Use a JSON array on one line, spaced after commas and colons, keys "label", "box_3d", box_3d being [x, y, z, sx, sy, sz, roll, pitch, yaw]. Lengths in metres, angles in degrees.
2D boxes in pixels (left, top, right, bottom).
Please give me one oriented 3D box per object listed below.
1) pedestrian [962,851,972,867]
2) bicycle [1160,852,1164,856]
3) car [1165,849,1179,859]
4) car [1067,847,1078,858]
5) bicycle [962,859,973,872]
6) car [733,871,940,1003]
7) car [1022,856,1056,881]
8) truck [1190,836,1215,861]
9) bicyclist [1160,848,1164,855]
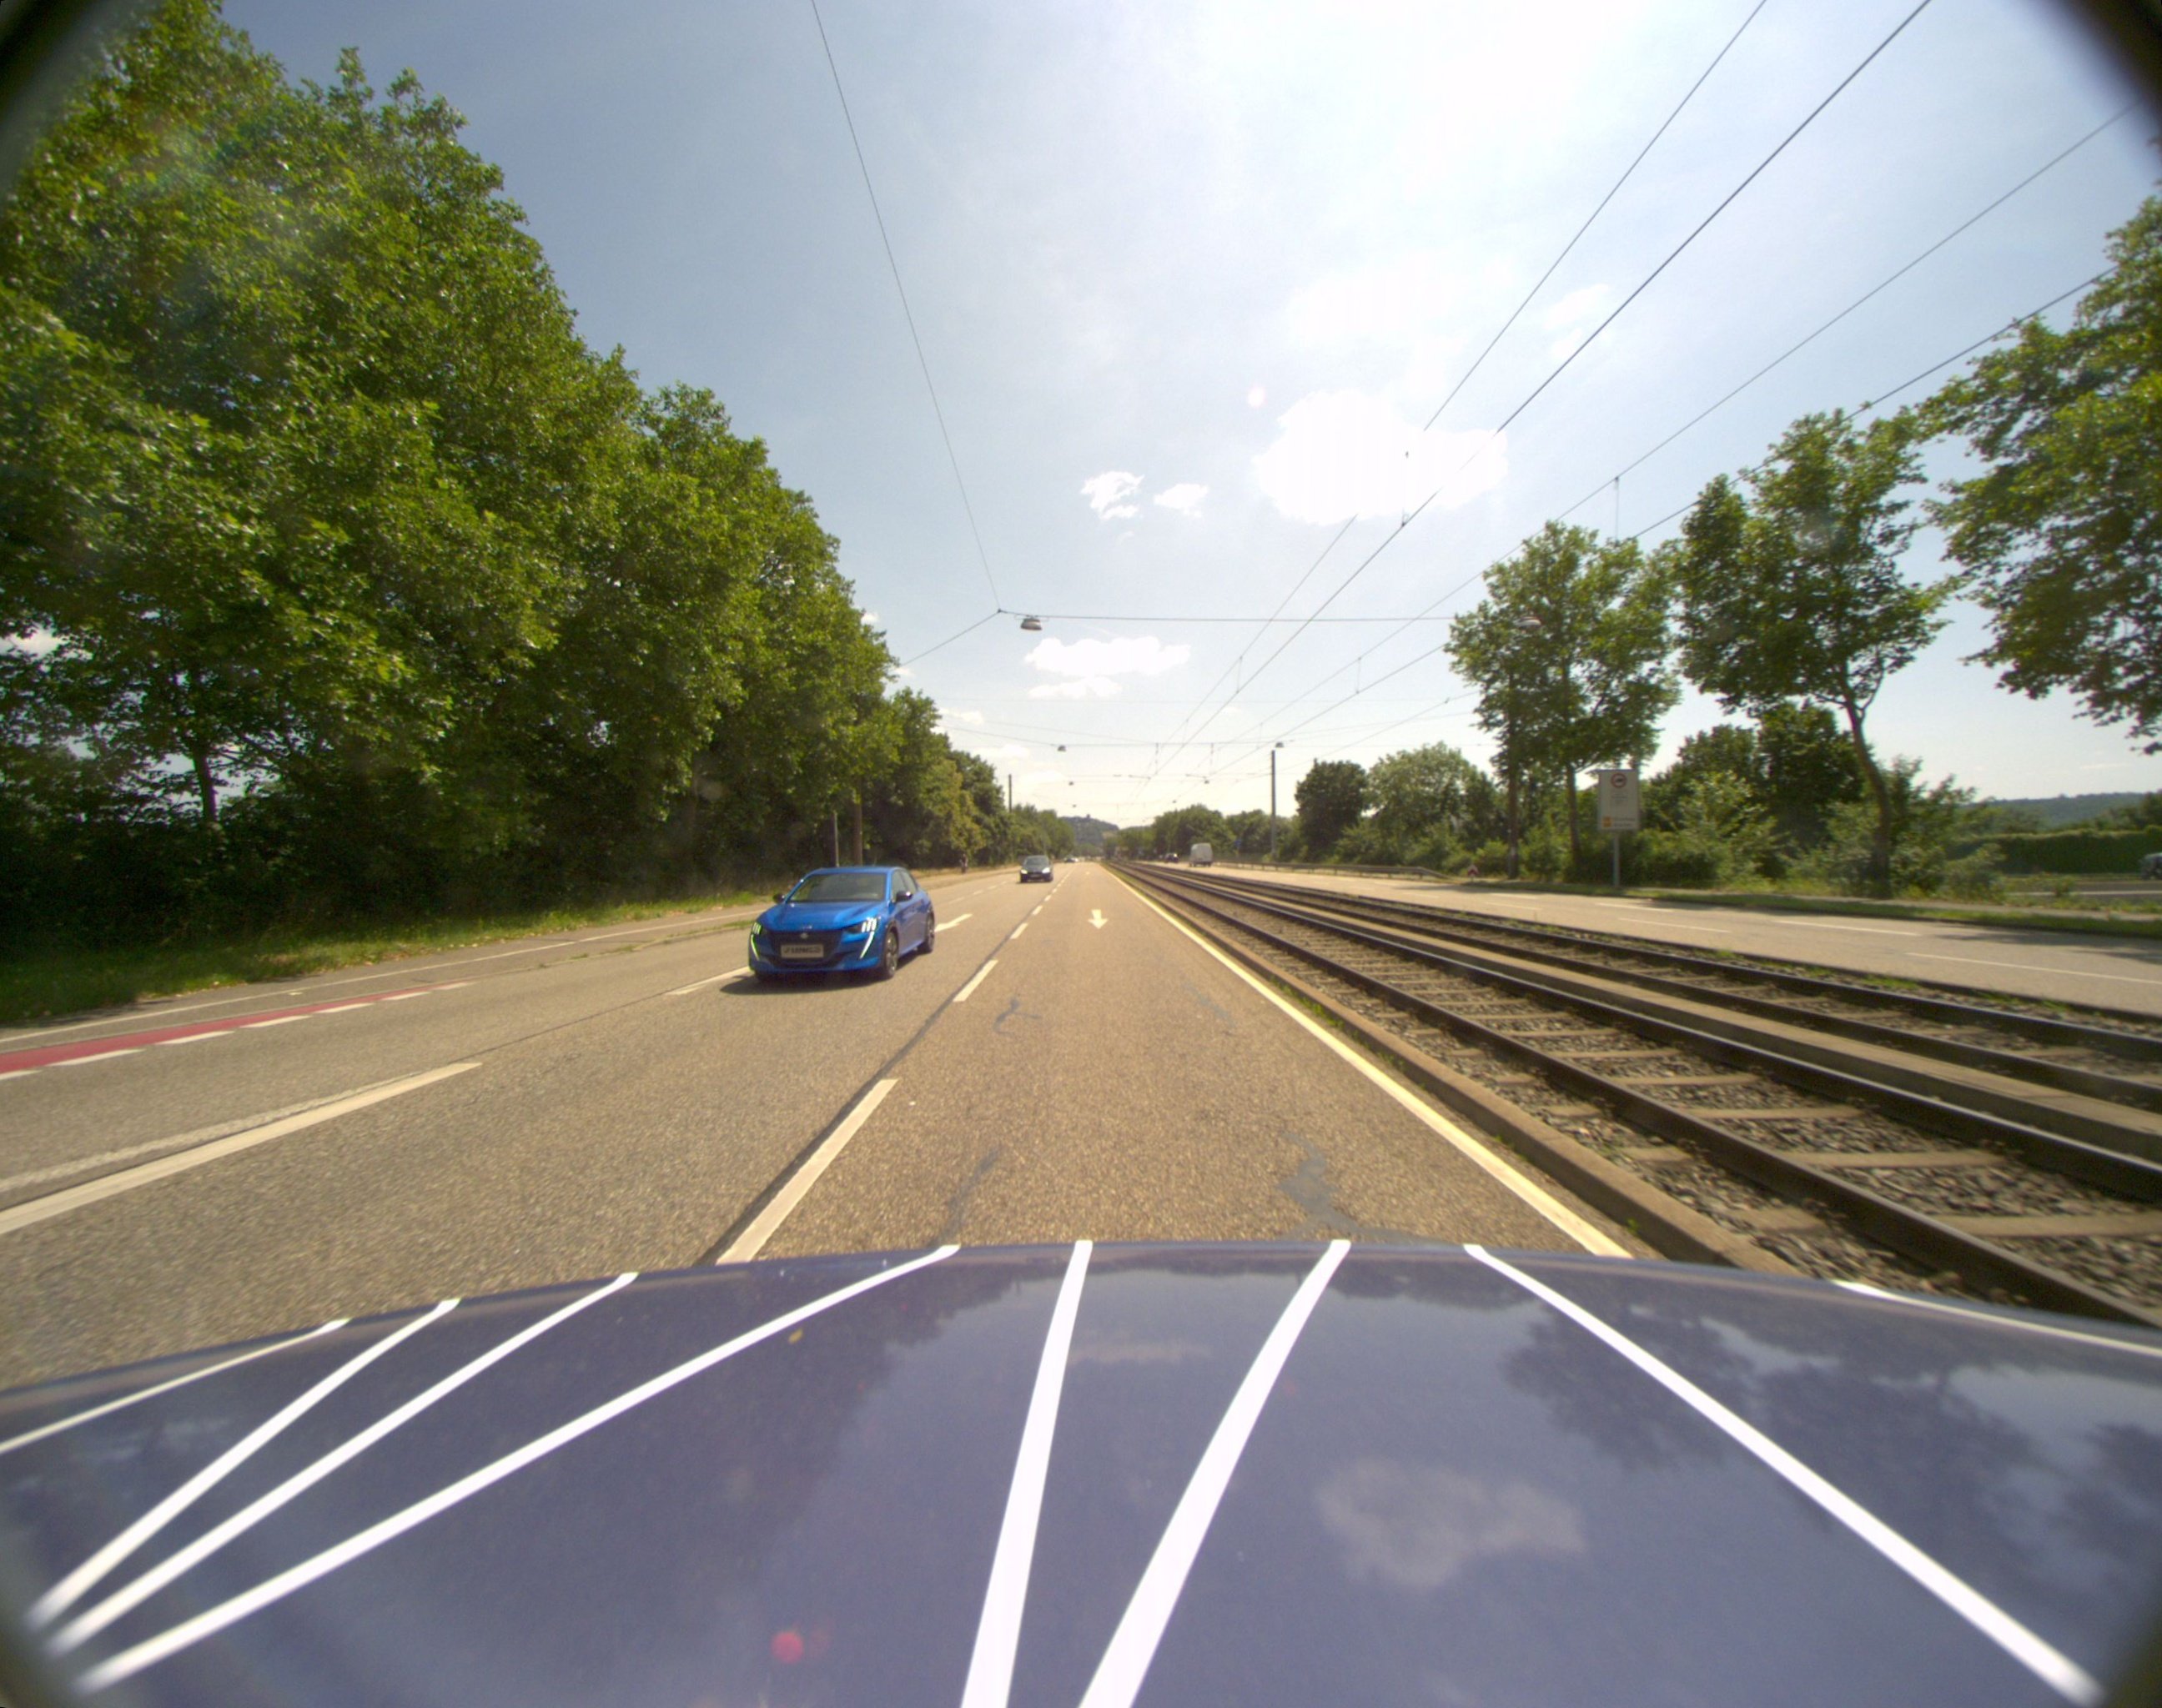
[{"label": "pedestrian", "box_3d": [-9.393, 0.410, 62.735, 0.629, 1.366, 1.050, 0, 1, 1]}, {"label": "bicycle", "box_3d": [20.231, -0.008, 189.928, 0.859, 1.178, 2.062, -2, 1, 0]}, {"label": "car", "box_3d": [14.249, -0.069, 119.062, 1.822, 1.505, 4.427, 0, 1, 1]}, {"label": "car", "box_3d": [-1.643, -0.306, 146.124, 1.999, 2.002, 3.999, -1, 1, 0]}, {"label": "bicycle", "box_3d": [-9.388, 0.922, 62.826, 0.561, 1.018, 1.847, 0, 1, 1]}, {"label": "car", "box_3d": [-3.234, 1.019, 10.846, 1.660, 1.397, 3.743, -2, 0, 1]}, {"label": "car", "box_3d": [-2.471, 0.829, 45.222, 1.769, 1.359, 3.743, -2, 0, 0]}, {"label": "truck", "box_3d": [14.712, -0.616, 92.465, 2.059, 2.922, 6.319, 0, 1, 1]}, {"label": "bicyclist", "box_3d": [20.229, -0.599, 189.886, 0.765, 1.612, 0.838, -2, 1, 0]}]
